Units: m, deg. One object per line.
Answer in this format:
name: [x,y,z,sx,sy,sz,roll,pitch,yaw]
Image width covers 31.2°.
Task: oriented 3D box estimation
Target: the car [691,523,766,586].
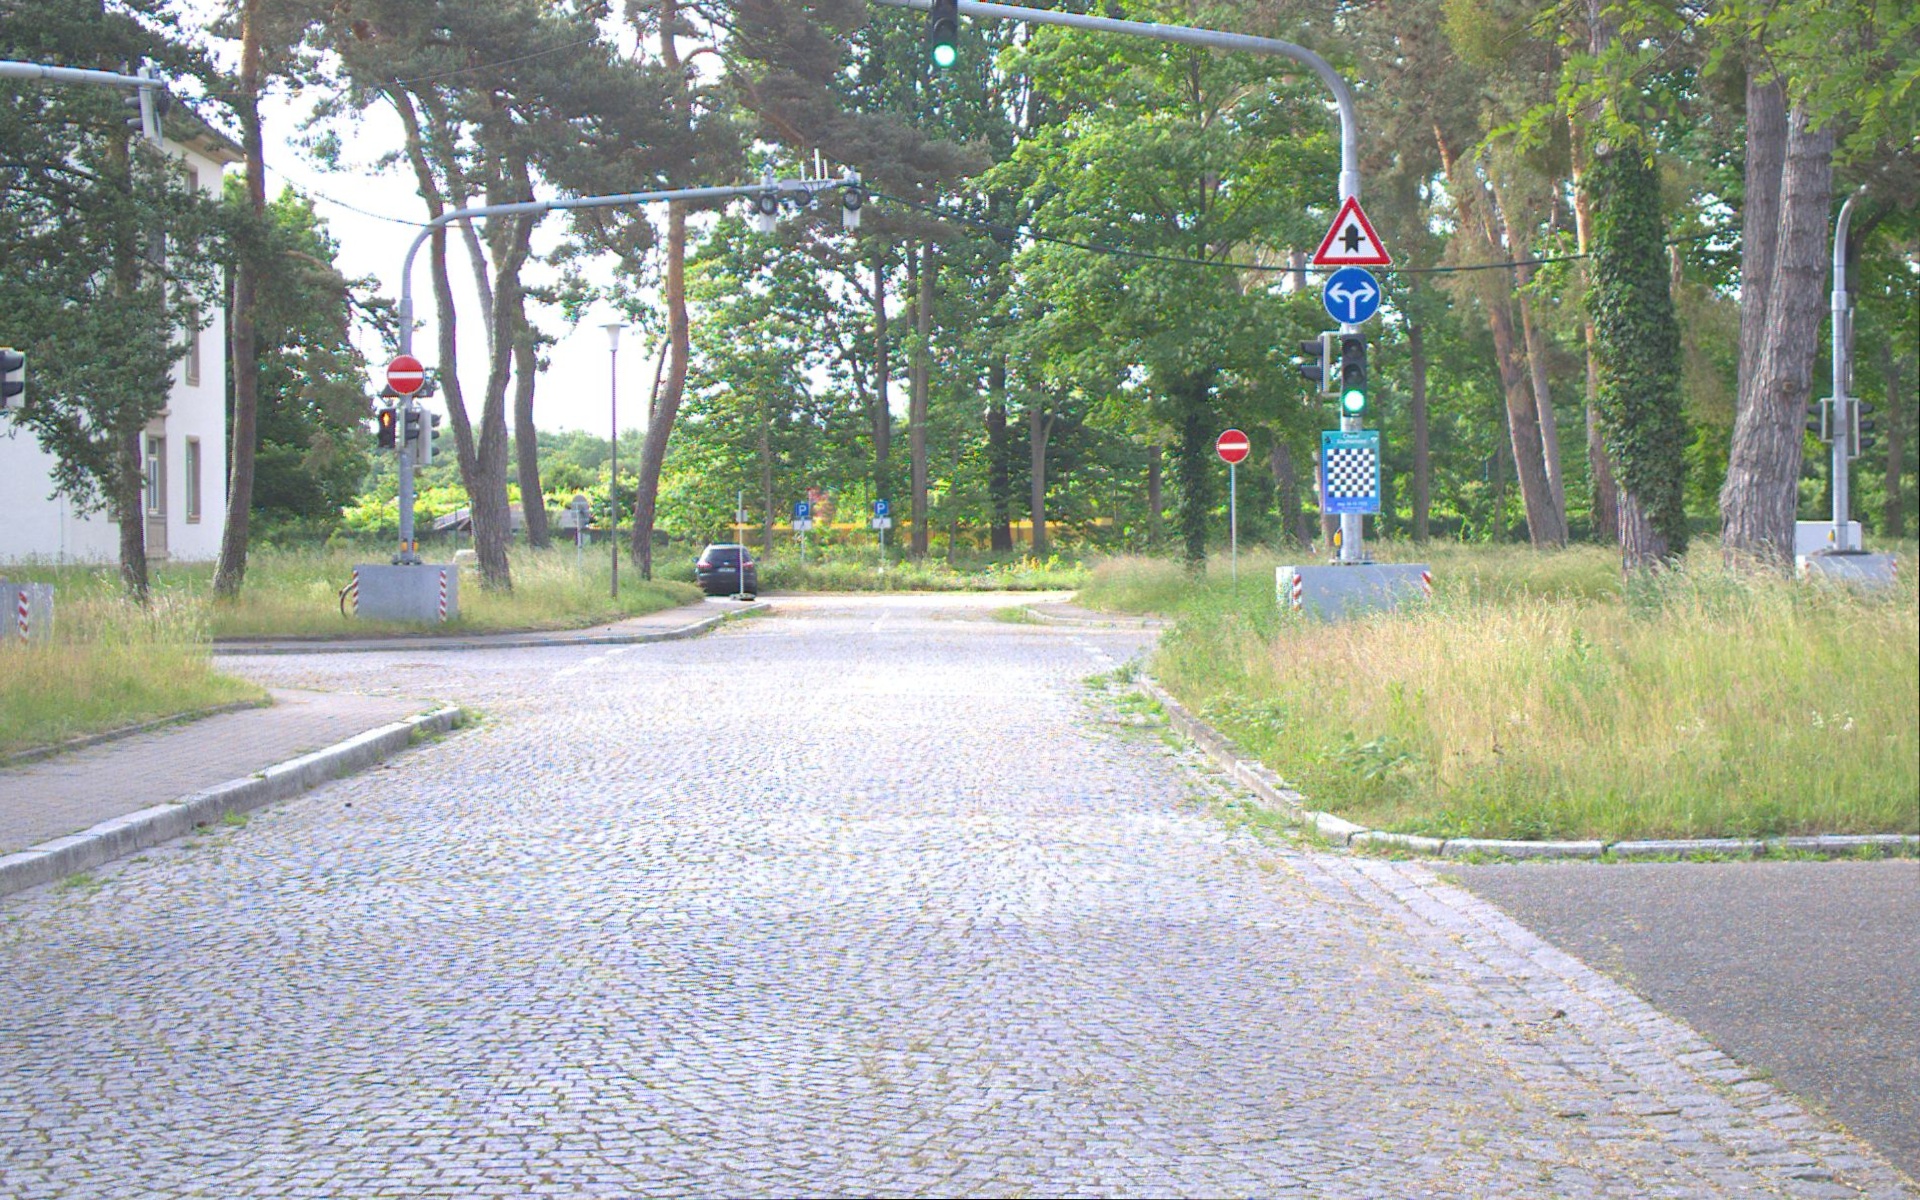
car: [-6.948,-1.383,103.579,2.056,1.840,4.000,0,1,-1]
